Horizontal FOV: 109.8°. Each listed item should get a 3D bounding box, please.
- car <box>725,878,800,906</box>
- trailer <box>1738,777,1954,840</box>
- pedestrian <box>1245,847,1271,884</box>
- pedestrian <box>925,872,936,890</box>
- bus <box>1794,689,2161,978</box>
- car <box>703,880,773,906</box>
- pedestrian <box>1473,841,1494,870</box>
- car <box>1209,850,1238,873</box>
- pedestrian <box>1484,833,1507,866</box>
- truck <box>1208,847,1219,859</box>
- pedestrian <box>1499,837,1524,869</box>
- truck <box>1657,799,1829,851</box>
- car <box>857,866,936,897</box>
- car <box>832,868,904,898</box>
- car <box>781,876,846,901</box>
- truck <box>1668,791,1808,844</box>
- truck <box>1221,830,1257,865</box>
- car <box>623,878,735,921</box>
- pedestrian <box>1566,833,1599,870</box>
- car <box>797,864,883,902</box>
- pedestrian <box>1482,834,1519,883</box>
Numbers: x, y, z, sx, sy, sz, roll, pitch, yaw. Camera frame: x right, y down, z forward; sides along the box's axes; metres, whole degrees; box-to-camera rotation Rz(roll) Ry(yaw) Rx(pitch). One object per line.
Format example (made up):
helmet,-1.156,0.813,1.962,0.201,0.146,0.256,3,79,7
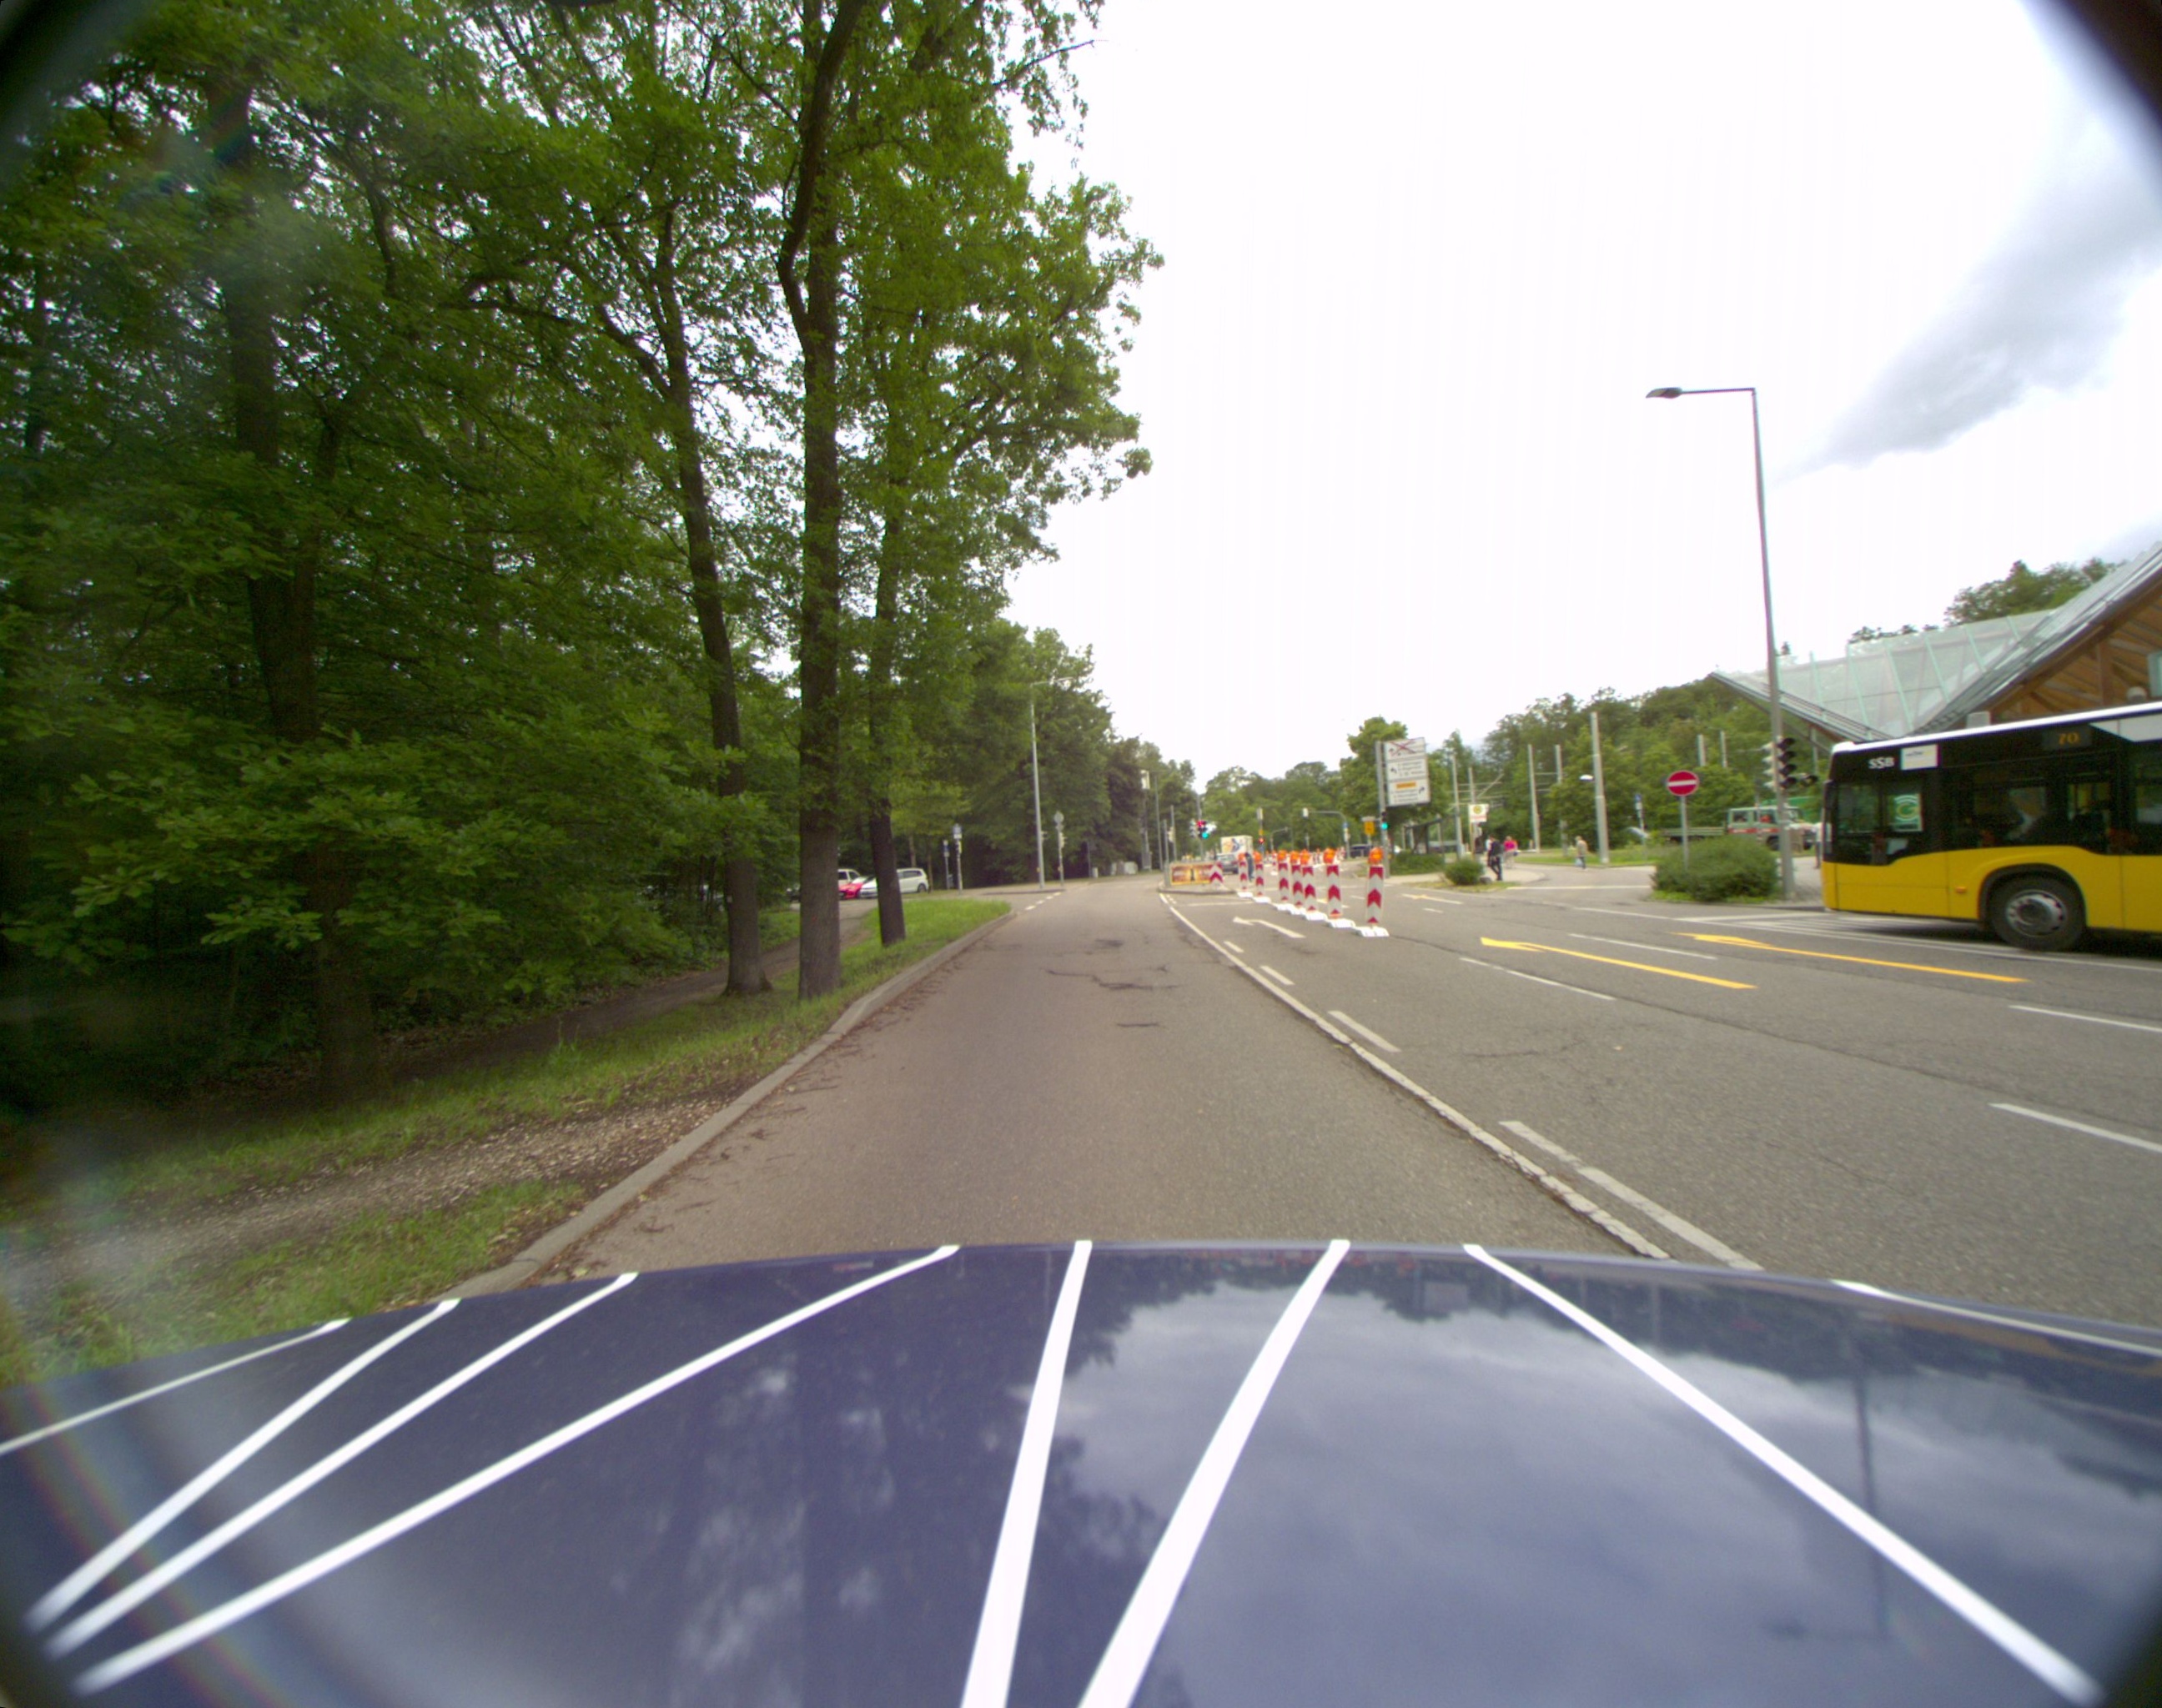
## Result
car,-22.131,2.646,52.979,1.839,1.548,4.540,-5,-1,27
trailer,62.156,-3.522,62.415,3.791,3.858,11.853,-4,-1,-19
pedestrian,8.277,0.534,35.447,1.092,1.666,0.912,-3,1,14
pedestrian,-14.344,2.588,72.429,0.833,1.641,1.035,-4,0,-4
bus,13.107,-0.282,7.456,2.906,3.108,9.758,-3,0,-1
car,-24.488,2.789,54.401,1.815,1.486,4.207,-5,-1,30
pedestrian,21.665,0.075,40.920,0.775,1.537,0.629,-5,1,12
car,10.257,0.512,54.889,1.811,1.500,4.310,-2,1,8
pedestrian,21.674,-0.248,39.727,0.685,1.655,0.871,-4,0,7
truck,37.087,-0.240,212.918,2.744,3.192,6.678,-5,-1,10
pedestrian,21.464,-0.056,37.901,0.791,1.542,0.776,-5,0,10
truck,34.654,-1.437,40.109,2.609,2.157,6.294,-4,-1,-18
car,-11.317,1.663,46.780,1.995,1.542,4.429,-5,-1,34
car,-13.454,1.808,48.176,1.890,1.542,4.007,-5,-1,34
car,-17.927,2.308,51.113,1.717,1.320,3.942,-5,-1,28
truck,59.767,-3.228,69.502,3.791,3.858,8.760,-4,-1,-19
truck,15.833,-0.656,75.729,2.632,3.219,6.214,-2,0,19
car,-21.601,2.428,41.059,1.995,1.867,4.958,-5,-1,29
pedestrian,22.140,-0.101,33.556,0.768,1.516,0.875,-4,0,-8
car,-15.626,1.862,49.631,2.058,1.946,5.191,-5,1,30
pedestrian,16.222,0.174,29.383,0.992,1.798,0.768,-5,0,41
